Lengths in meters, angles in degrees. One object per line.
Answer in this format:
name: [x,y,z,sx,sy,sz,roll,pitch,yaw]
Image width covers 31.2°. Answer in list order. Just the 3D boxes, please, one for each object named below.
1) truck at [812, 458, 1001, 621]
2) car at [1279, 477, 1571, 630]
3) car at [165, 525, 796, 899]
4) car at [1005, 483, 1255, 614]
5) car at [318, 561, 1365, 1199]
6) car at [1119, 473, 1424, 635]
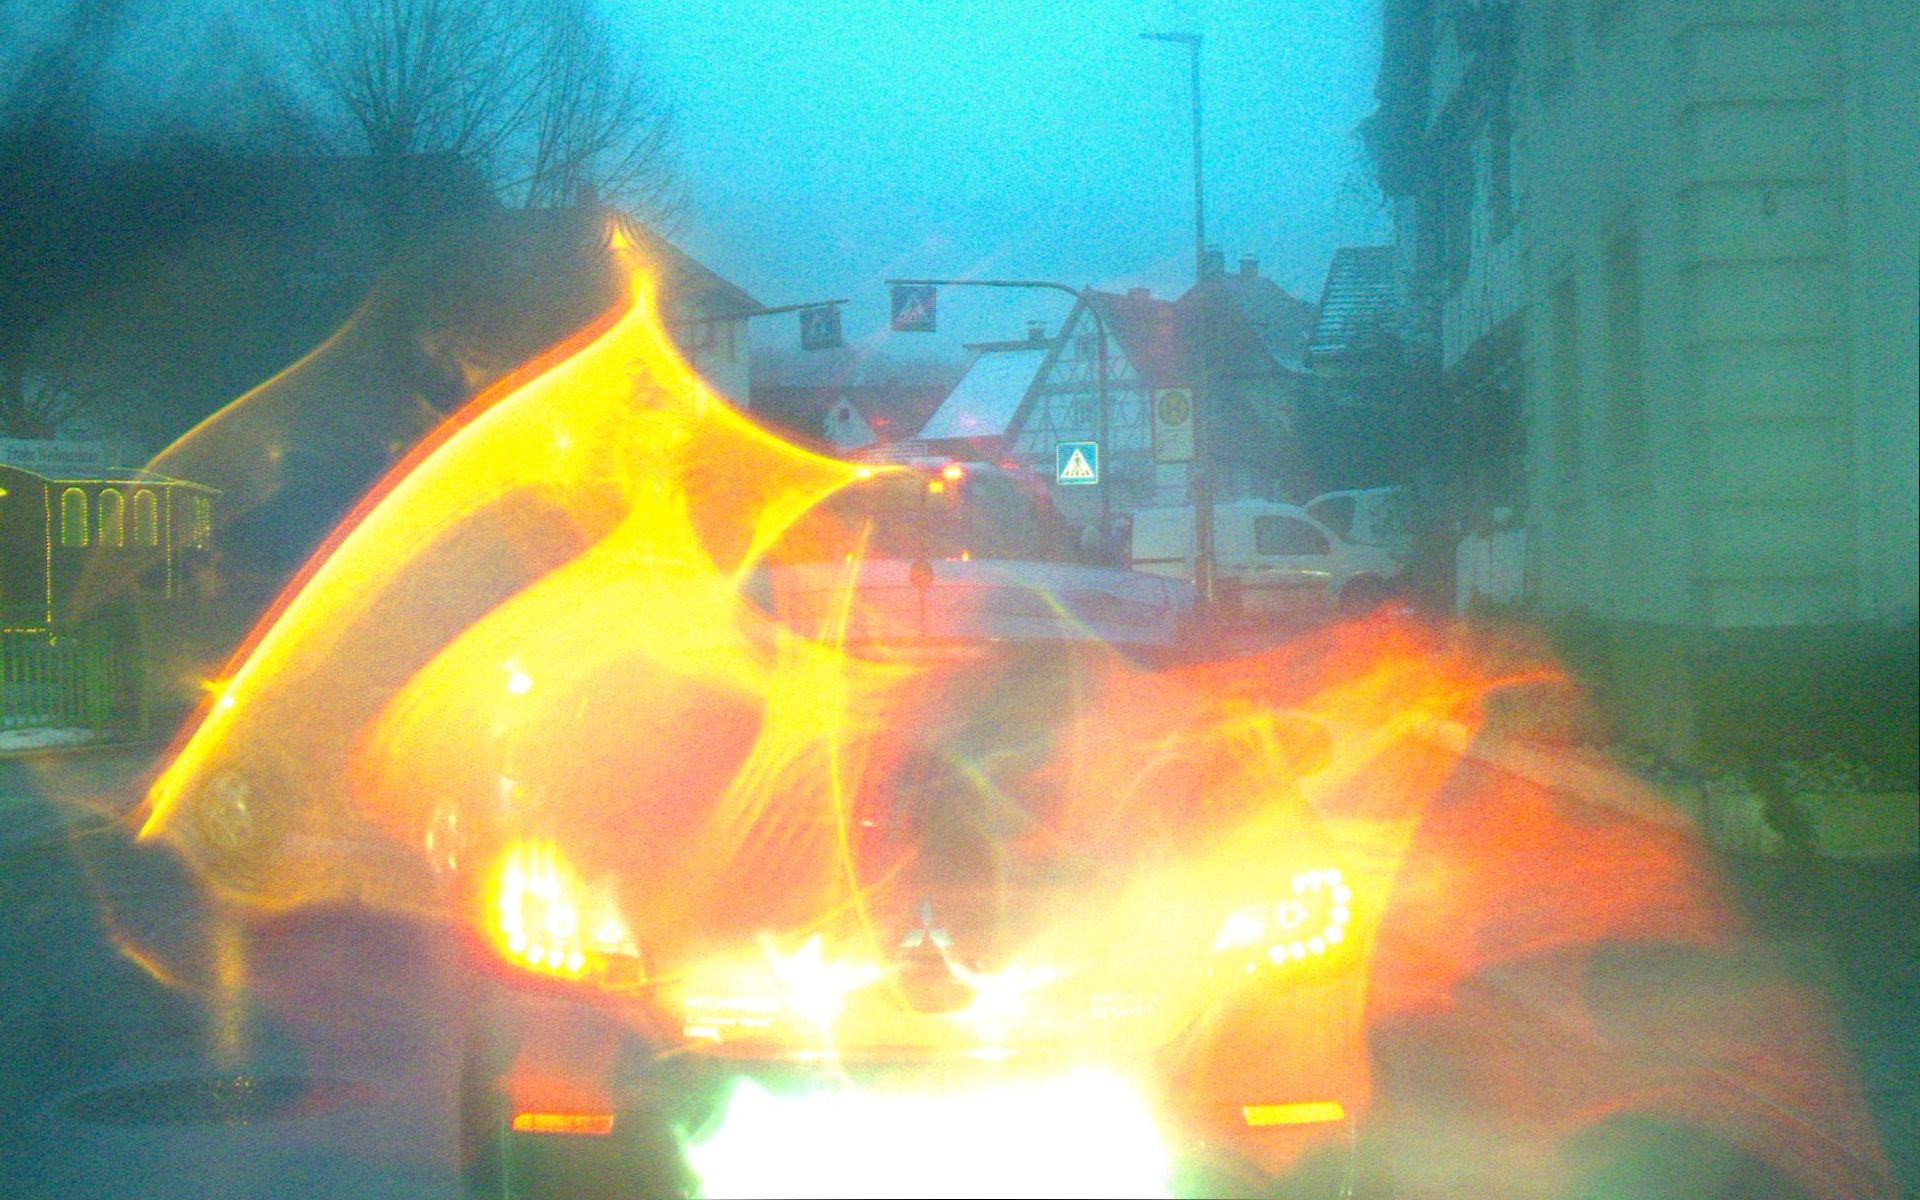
truck: [-0.979,-1.236,69.919,3.016,3.118,7.999,0,1,5]
car: [6.704,-0.680,49.798,4.098,2.144,1.913,0,1,7]
car: [-2.243,0.407,15.457,1.638,1.476,3.271,-1,2,-32]
car: [2.914,-0.874,58.401,4.098,2.144,1.913,0,1,7]
car: [-0.202,0.664,7.075,1.638,1.476,3.379,0,1,-1]
car: [4.322,-0.636,47.538,4.098,2.155,1.913,0,1,7]
